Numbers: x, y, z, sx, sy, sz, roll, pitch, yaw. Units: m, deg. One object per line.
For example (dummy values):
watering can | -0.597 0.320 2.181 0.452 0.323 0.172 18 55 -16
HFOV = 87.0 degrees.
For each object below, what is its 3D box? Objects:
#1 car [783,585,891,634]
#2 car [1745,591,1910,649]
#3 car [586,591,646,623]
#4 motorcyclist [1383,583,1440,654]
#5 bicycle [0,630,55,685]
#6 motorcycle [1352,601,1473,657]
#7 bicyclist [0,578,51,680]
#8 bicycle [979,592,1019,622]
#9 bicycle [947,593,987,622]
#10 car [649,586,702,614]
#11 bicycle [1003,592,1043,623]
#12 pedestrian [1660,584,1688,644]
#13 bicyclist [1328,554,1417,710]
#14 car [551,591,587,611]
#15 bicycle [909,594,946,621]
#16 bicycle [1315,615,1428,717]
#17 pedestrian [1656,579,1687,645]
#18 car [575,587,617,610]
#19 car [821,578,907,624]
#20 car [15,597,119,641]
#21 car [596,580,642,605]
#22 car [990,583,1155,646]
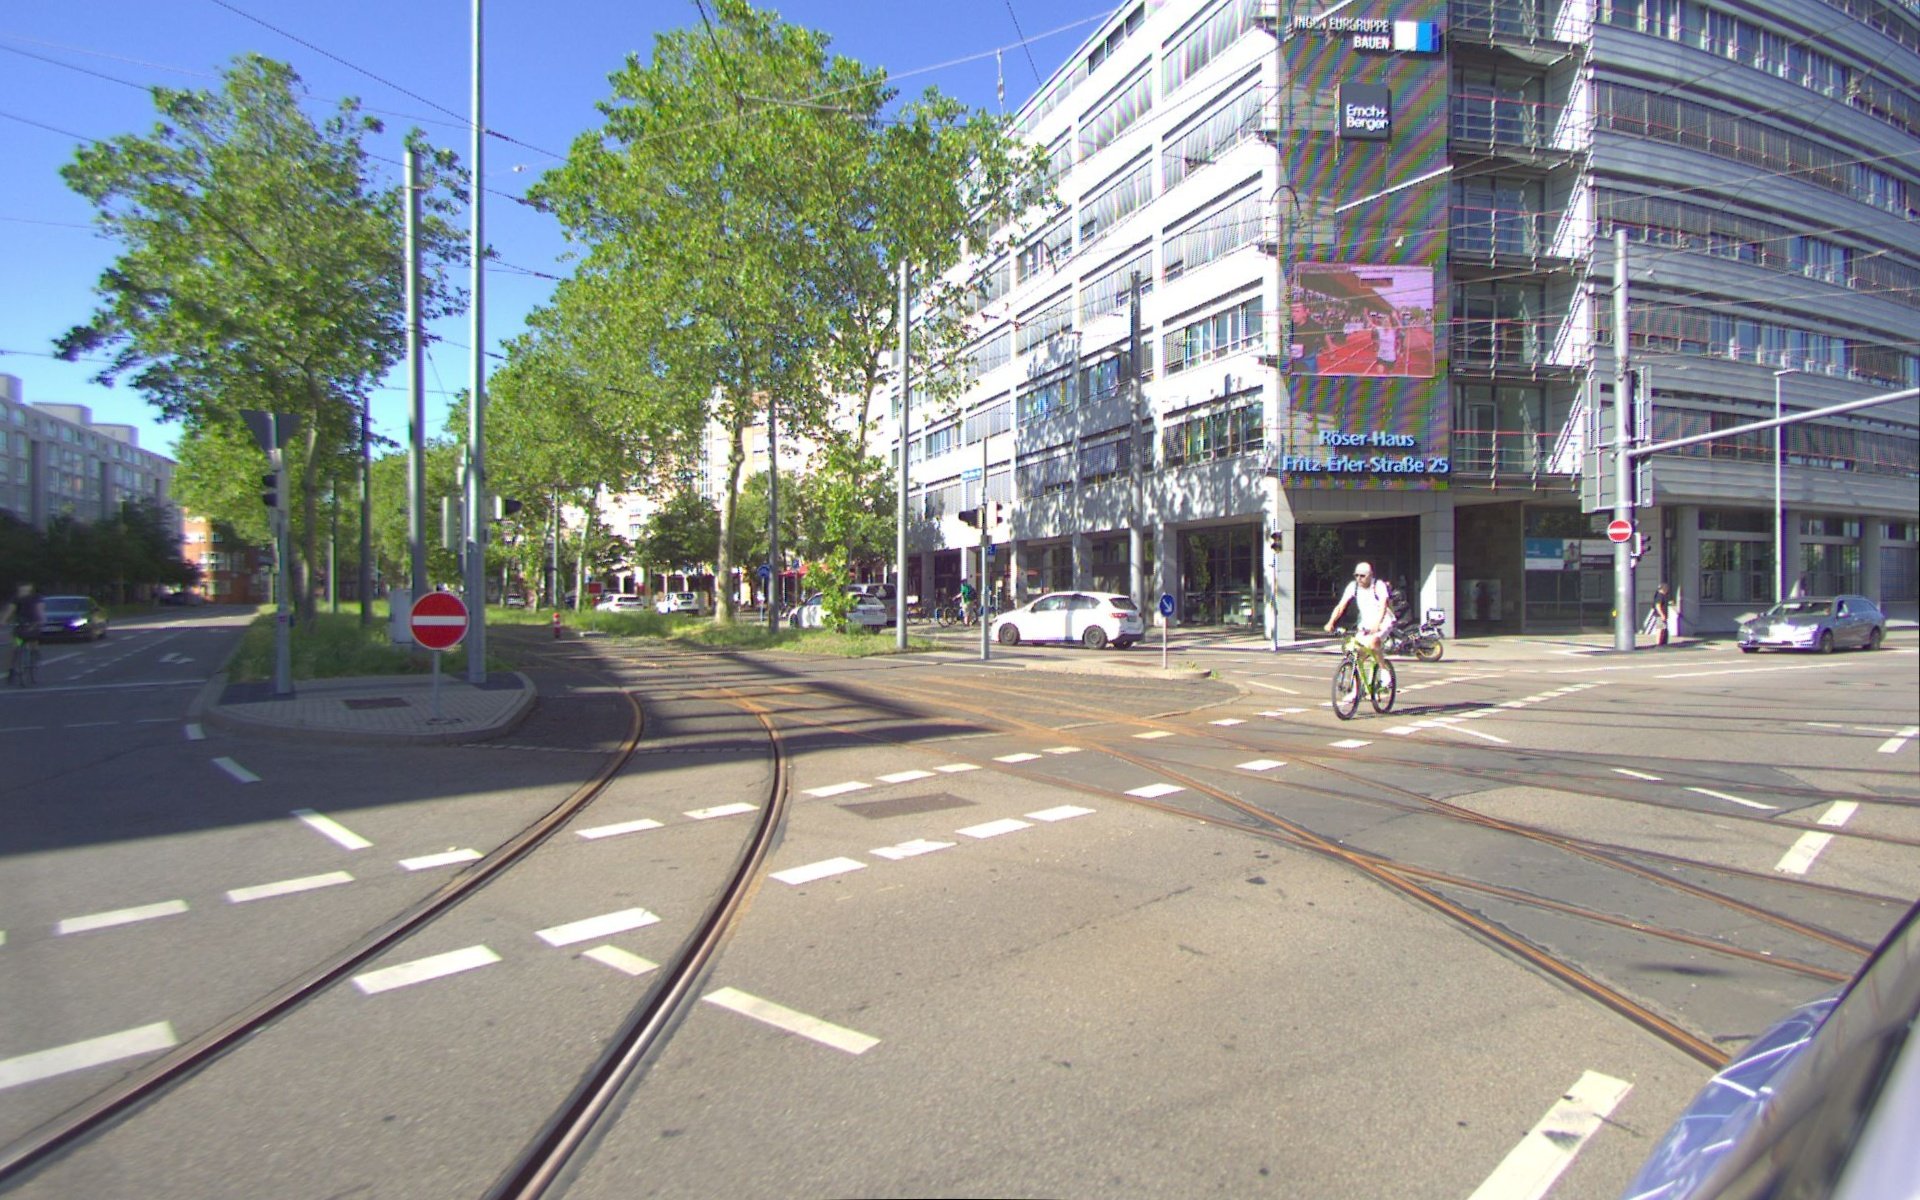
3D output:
car | -4.246 0.367 34.480 1.876 1.561 4.135 0 -2 -36
car | 23.146 0.496 26.971 4.690 1.414 1.729 0 0 -28
car | -18.884 0.405 55.454 1.877 1.604 3.996 2 -3 -38
motorcyclist | 10.345 0.422 23.217 0.925 1.581 0.830 -1 -1 5
bicycle | -15.753 0.947 16.968 0.661 0.816 1.674 -1 1 -35
motorcycle | 10.365 0.665 23.253 2.348 1.216 0.830 -1 -1 5
bicyclist | -15.706 0.463 16.908 0.659 1.650 0.865 -1 0 -36
bicycle | 1.661 0.283 42.806 1.696 1.235 0.469 -1 1 -31
bicycle | 0.302 0.316 43.466 1.696 1.235 0.469 -1 1 -31
car | -18.006 0.058 63.899 1.877 1.604 3.996 2 -3 -38
bicycle | 2.590 0.282 41.604 1.696 1.235 0.469 -1 1 -31
pedestrian | 20.415 0.390 28.935 0.557 1.666 0.424 1 1 29
bicyclist | 4.963 0.364 12.168 1.028 1.775 0.649 1 -1 -45
car | -34.578 0.143 89.526 1.877 1.604 3.996 2 -3 -38
bicycle | -1.478 0.331 46.402 1.696 1.235 0.469 -1 1 -31
bicycle | 4.974 0.753 12.183 0.649 1.124 1.729 0 0 45
pedestrian | 20.057 0.320 28.522 0.603 1.820 0.633 1 1 29
car | -28.033 -0.121 77.855 1.877 1.604 3.996 2 -3 -38
car | -4.189 0.013 43.733 1.786 1.875 4.390 -1 1 -34
car | -29.073 0.578 33.067 1.703 1.282 4.005 -1 1 -29
car | -24.374 -0.524 72.317 1.877 1.604 3.996 2 -3 -38
car | 3.043 0.355 27.711 4.115 1.604 1.886 1 0 38
